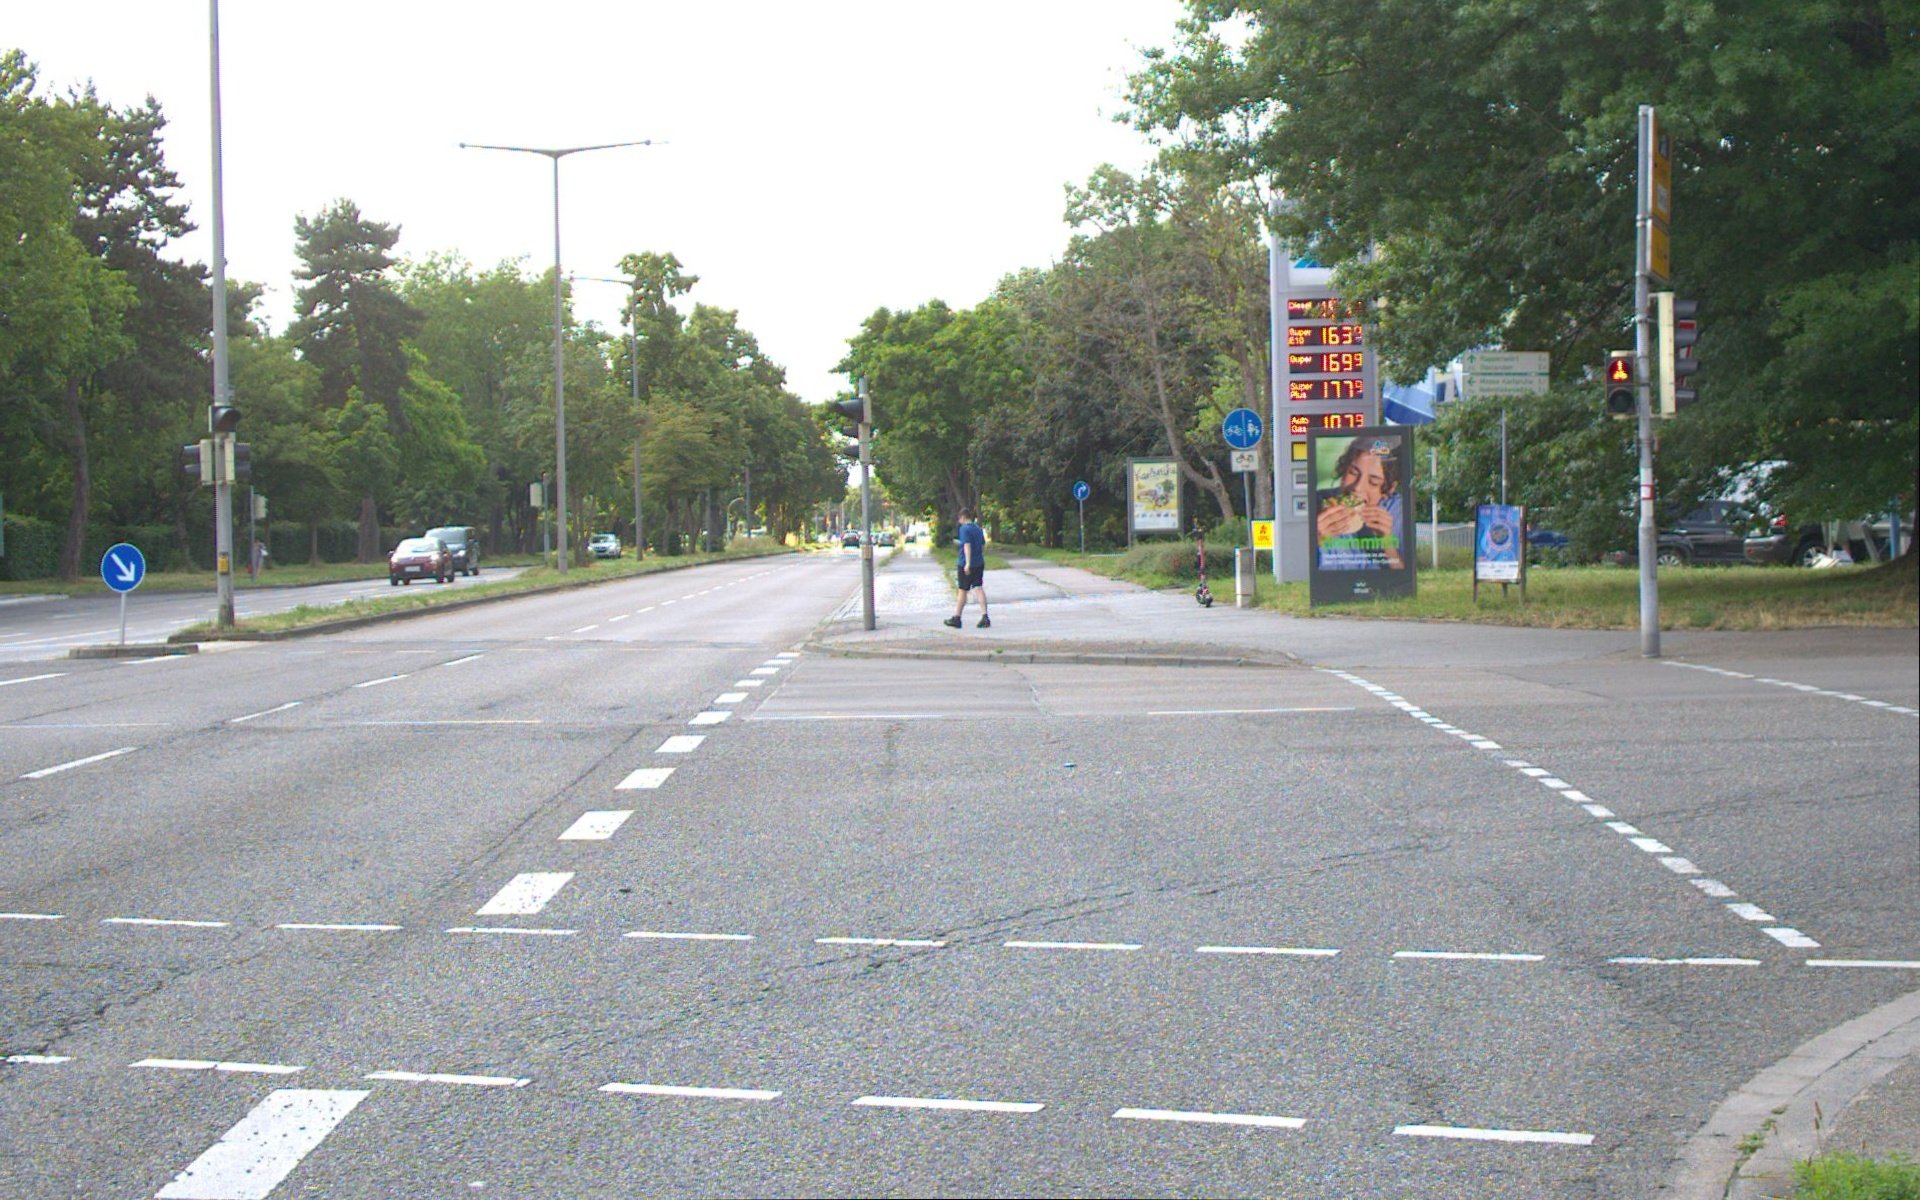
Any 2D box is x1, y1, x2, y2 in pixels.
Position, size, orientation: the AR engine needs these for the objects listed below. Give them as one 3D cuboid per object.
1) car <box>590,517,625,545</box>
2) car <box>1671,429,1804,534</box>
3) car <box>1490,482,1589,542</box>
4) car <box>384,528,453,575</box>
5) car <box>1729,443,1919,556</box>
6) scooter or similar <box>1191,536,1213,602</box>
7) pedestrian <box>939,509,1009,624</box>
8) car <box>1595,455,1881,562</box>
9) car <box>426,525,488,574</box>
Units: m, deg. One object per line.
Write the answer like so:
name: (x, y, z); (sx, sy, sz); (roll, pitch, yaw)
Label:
car: (-21.935, -4.279, 214.056); (1.860, 1.699, 4.456); (-1, 1, -2)
car: (19.146, -2.888, 84.900); (1.750, 2.445, 5.751); (-1, 1, -2)
car: (14.787, -2.238, 87.852); (1.750, 1.449, 3.741); (-1, 1, -2)
car: (-17.694, -1.588, 112.428); (1.771, 1.460, 4.456); (-1, 1, -3)
car: (15.911, -1.722, 58.219); (5.179, 1.820, 2.154); (-2, 1, -11)
scooter or similar: (3.653, -0.479, 51.945); (0.221, 0.976, 1.272); (-1, 1, 0)
pedestrian: (0.190, -0.459, 46.429); (0.725, 1.526, 0.760); (-2, 1, -17)
car: (15.613, -1.830, 69.152); (5.180, 1.997, 2.154); (-1, 1, -4)
car: (-20.146, -2.030, 137.882); (1.765, 1.850, 4.817); (-1, 2, -1)
